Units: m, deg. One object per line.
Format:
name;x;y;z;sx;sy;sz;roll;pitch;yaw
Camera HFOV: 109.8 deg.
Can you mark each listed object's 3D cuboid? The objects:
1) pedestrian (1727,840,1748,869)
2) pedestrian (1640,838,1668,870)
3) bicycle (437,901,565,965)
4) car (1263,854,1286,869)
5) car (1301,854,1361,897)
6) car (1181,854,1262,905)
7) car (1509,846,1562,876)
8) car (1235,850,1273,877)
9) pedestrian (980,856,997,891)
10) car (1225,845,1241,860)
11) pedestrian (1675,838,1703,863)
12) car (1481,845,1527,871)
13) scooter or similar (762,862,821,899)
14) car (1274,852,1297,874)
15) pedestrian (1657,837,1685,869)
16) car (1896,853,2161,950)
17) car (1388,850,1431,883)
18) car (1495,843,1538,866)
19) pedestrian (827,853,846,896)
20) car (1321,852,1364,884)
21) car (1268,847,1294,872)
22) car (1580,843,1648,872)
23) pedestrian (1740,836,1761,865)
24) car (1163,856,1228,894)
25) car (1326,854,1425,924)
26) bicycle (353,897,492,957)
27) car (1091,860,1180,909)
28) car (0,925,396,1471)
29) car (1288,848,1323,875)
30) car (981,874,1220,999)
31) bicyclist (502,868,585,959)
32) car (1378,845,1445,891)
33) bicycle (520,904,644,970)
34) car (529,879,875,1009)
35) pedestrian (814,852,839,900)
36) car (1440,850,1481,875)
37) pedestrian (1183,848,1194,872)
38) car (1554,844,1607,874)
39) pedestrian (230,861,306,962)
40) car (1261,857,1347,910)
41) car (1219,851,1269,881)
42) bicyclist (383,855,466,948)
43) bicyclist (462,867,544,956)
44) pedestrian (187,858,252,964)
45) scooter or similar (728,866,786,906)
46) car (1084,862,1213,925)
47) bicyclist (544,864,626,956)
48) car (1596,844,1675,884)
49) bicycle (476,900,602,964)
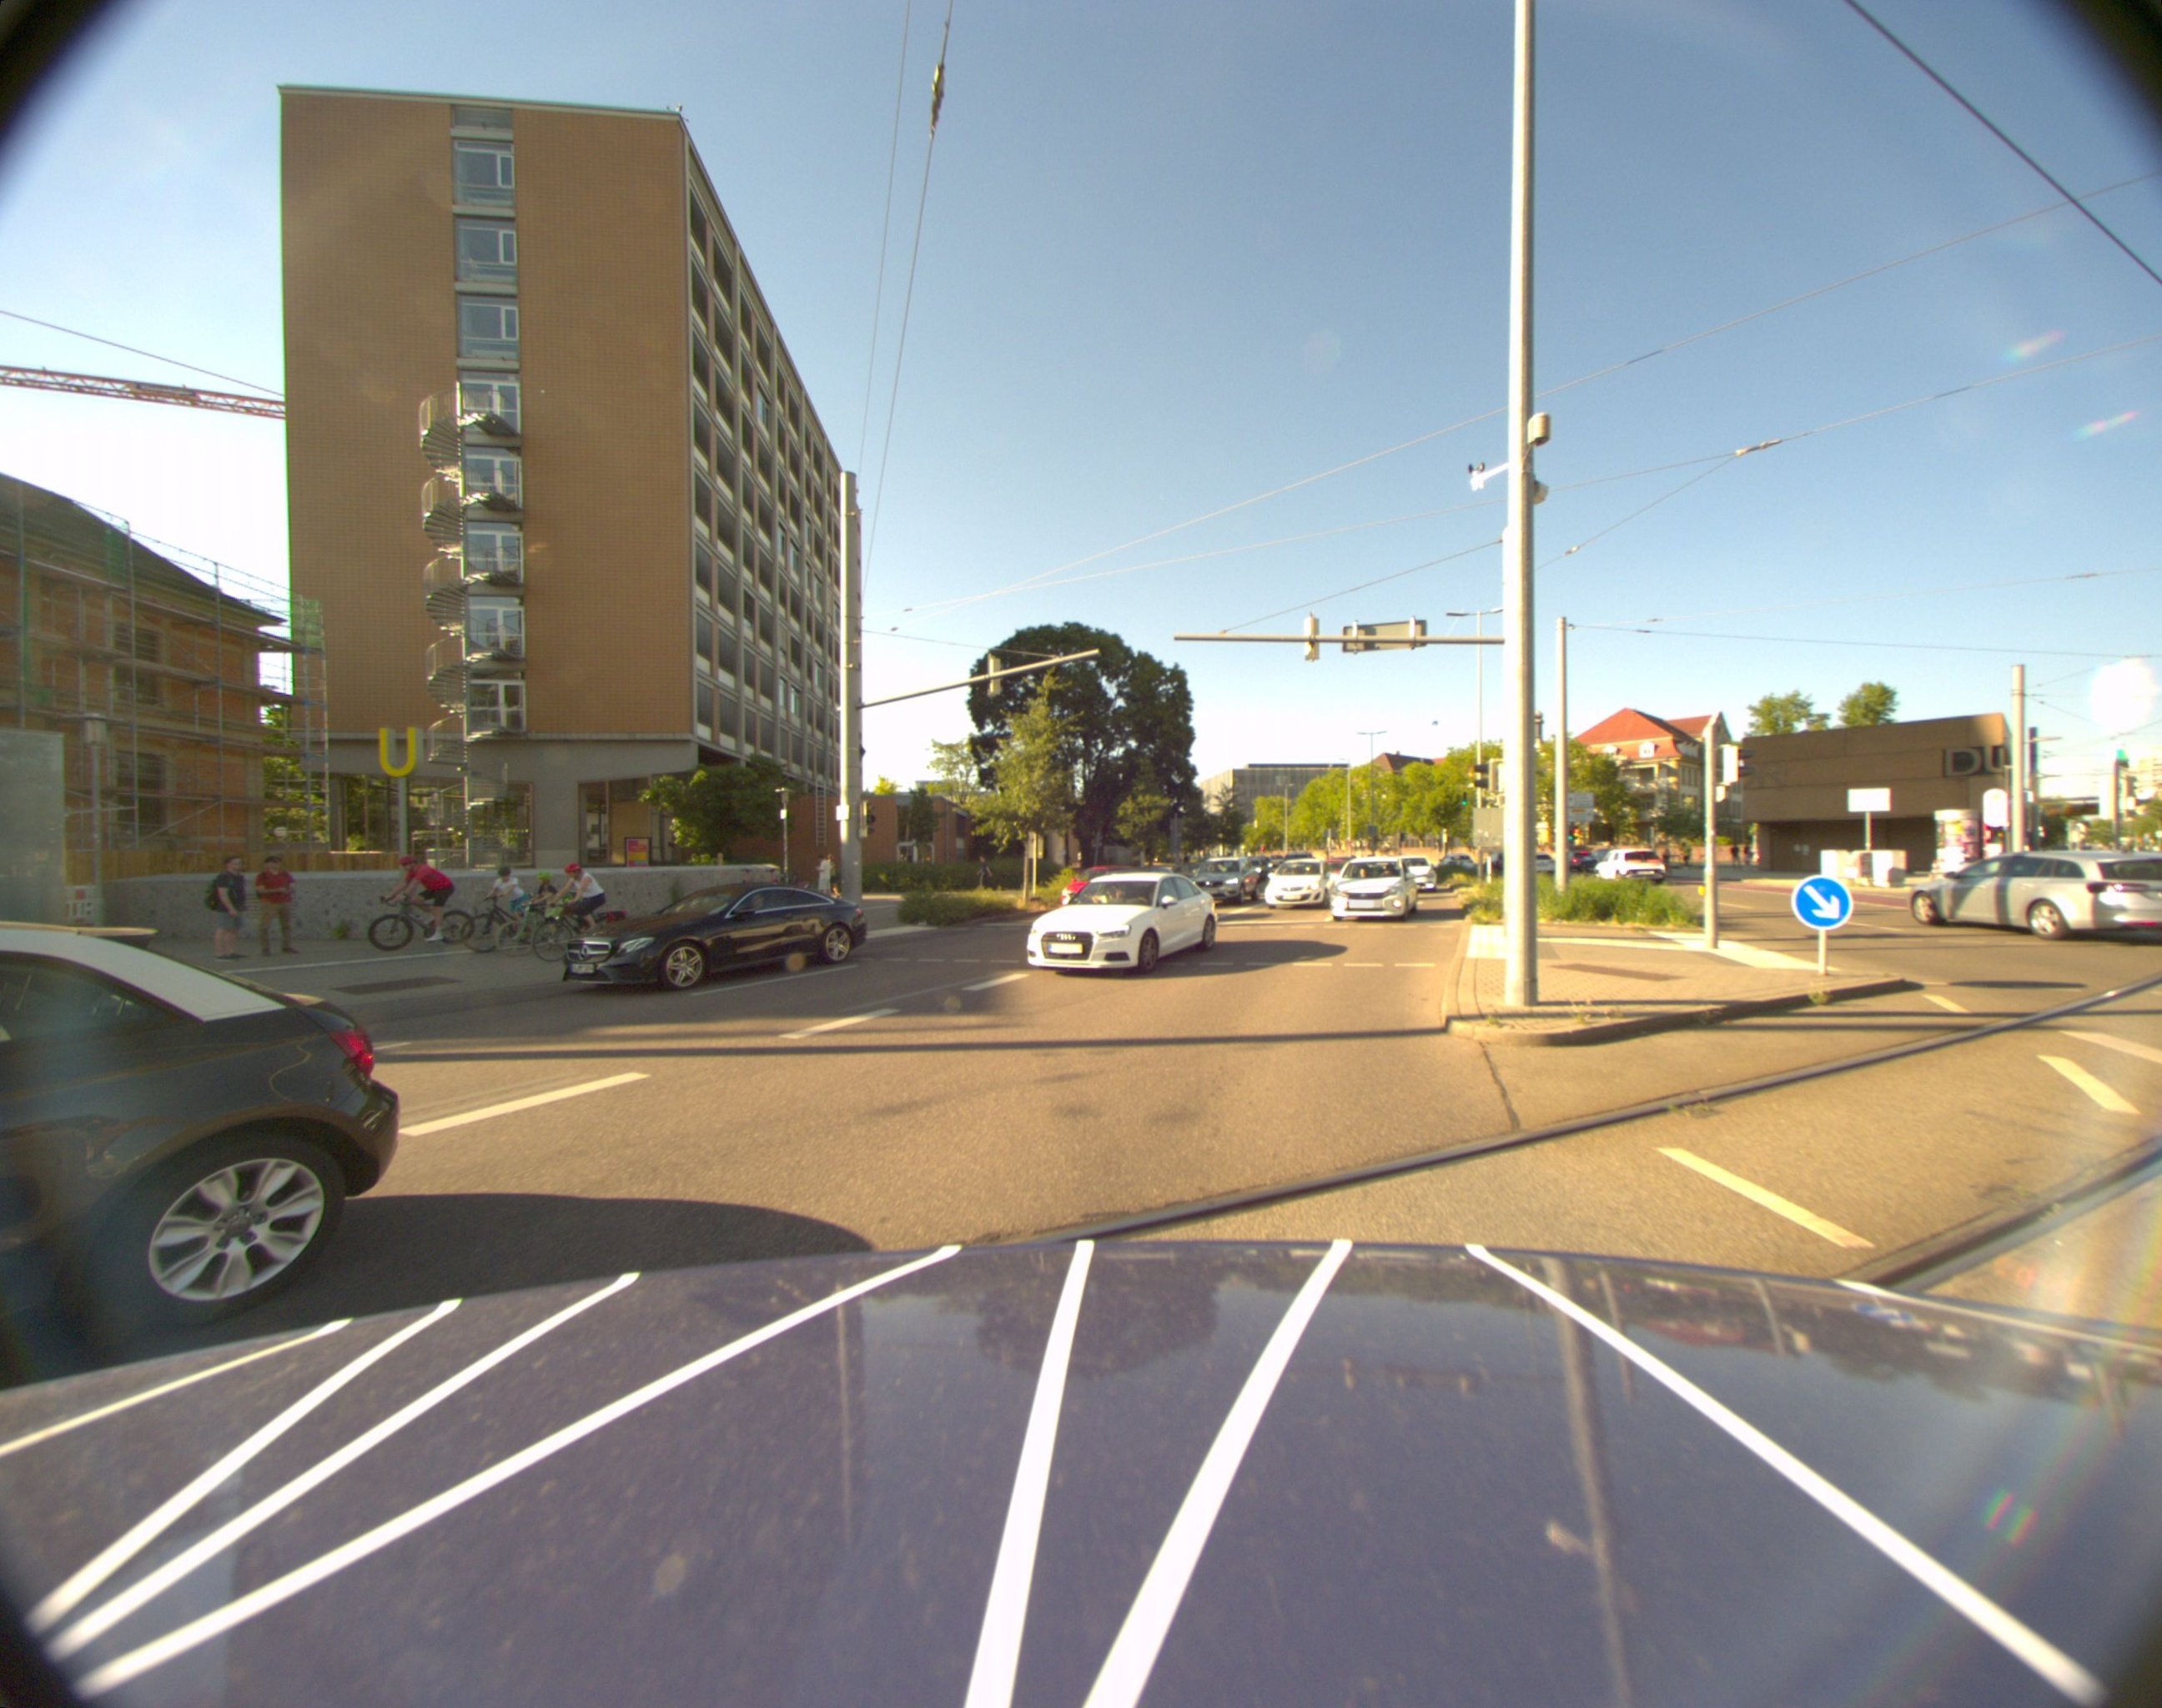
pedestrian;41.671;0.037;48.220;0.975;1.758;0.802;-2;-1;-42
pedestrian;32.415;-0.003;42.961;0.803;1.758;0.964;-3;-1;5
bicycle;-11.048;1.468;14.552;0.710;0.964;1.882;3;1;15
car;22.472;0.864;88.161;1.997;1.674;4.711;-3;-1;8
car;10.973;0.900;33.195;1.995;1.674;4.007;-3;-1;25
car;5.015;0.847;26.646;1.995;1.597;4.006;-2;0;22
car;28.191;0.417;47.225;1.855;1.620;3.875;-4;-1;16
car;11.587;0.582;50.712;1.819;1.718;4.006;0;0;23
pedestrian;-4.300;0.900;35.384;0.572;1.625;0.505;-3;-1;16
car;30.149;-0.237;150.441;2.151;2.850;4.970;-1;0;0
pedestrian;39.438;-0.241;49.301;0.803;1.558;1.180;-3;-1;5
car;29.700;0.287;53.510;1.855;1.620;3.875;-4;-1;15
scooter or similar;-10.550;0.961;27.667;1.832;1.239;0.798;-2;-1;-33
car;19.216;0.827;71.337;1.996;2.002;4.005;0;0;16
pedestrian;33.261;-0.048;42.837;0.803;1.758;0.974;-3;-1;5
car;16.973;0.707;13.310;1.843;1.415;4.438;-1;0;20
car;17.640;0.610;40.943;1.995;1.666;4.290;0;1;22
car;33.440;0.026;58.432;1.855;1.620;3.875;-4;-1;15
pedestrian;-9.606;0.796;29.809;0.427;1.625;0.505;-3;0;16
car;14.928;0.781;43.285;1.996;1.674;4.006;-3;-1;22
car;16.723;0.425;63.346;1.996;2.002;4.005;0;0;16
car;33.061;0.239;47.269;1.862;1.620;4.041;-4;-1;10
pedestrian;42.655;-0.214;48.400;0.975;1.758;0.802;-2;-1;-42
car;5.204;0.905;34.206;1.752;1.456;4.025;0;2;26
car;7.290;0.783;18.600;1.717;1.483;3.877;-2;0;29
bicycle;-12.701;1.376;14.718;0.710;0.964;1.884;4;2;31
car;1.990;1.000;26.597;1.752;1.456;4.025;0;2;25
car;-4.088;1.023;1.399;1.692;1.380;3.837;0;0;18
car;15.085;0.453;50.942;1.819;1.718;4.006;0;0;23
car;0.544;1.105;11.714;1.822;1.380;4.466;-3;-1;28
bicyclist;-10.087;1.087;14.287;0.692;1.578;1.018;3;2;15
car;13.058;0.500;29.899;1.994;1.666;4.291;0;1;29
bicycle;-9.118;1.484;13.985;0.710;0.964;1.882;3;1;15
car;-5.561;1.212;11.921;1.813;1.483;4.662;-2;-1;27
pedestrian;-9.143;0.795;27.310;0.485;1.701;0.626;-3;-1;43
car;27.037;0.587;54.286;1.855;1.620;3.875;-4;-1;16
pedestrian;7.690;0.425;54.321;0.564;1.651;0.593;-3;-1;23
car;34.612;0.308;52.763;1.996;2.002;4.005;0;0;17
pedestrian;-14.444;0.990;13.510;0.621;1.729;0.734;1;1;19
car;6.956;0.833;23.479;1.780;1.455;3.923;0;0;28
car;9.888;0.698;45.829;1.995;1.674;4.715;-3;-1;23
bicyclist;-12.688;0.880;14.691;0.692;1.698;1.019;4;2;31
bicyclist;-11.029;1.070;14.524;0.692;1.578;1.018;3;2;15
pedestrian;-14.529;0.931;12.835;0.623;1.729;0.663;0;1;-39
scooter or similar;-11.114;1.086;26.133;1.709;1.239;0.799;-3;-1;-19
car;2.048;1.047;21.463;1.813;1.483;4.663;-2;0;30
bicyclist;-9.099;0.995;13.977;0.692;1.578;1.018;3;2;15
car;24.006;0.409;33.058;1.718;1.621;3.876;-2;0;20
bicycle;-10.111;1.423;14.277;0.710;0.964;1.882;3;1;15
